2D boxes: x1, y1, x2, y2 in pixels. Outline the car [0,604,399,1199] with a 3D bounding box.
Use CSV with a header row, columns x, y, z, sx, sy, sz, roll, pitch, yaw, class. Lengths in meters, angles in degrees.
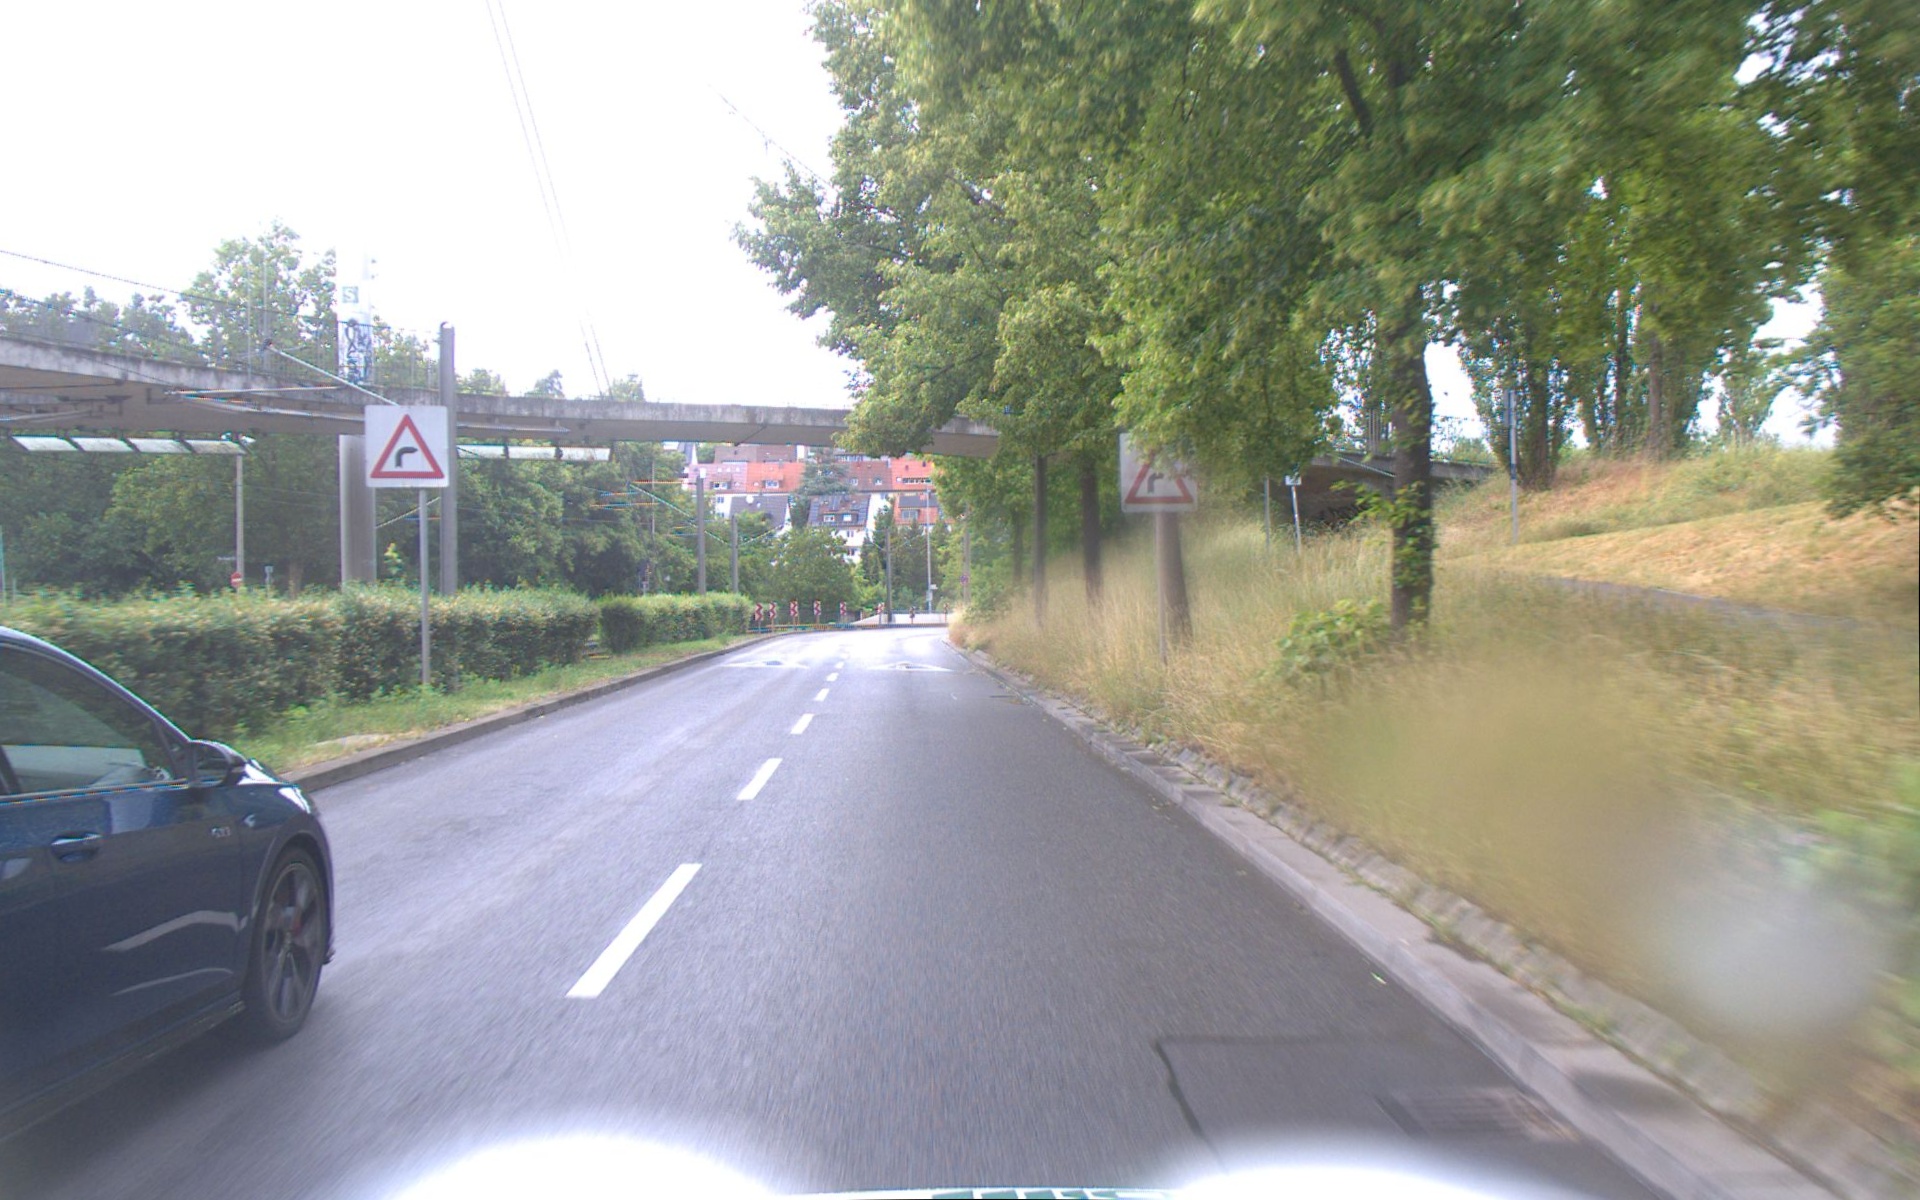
x,y,z,sx,sy,sz,roll,pitch,yaw,class
-3.034,0.718,4.141,1.771,1.402,4.346,1,0,0,car
